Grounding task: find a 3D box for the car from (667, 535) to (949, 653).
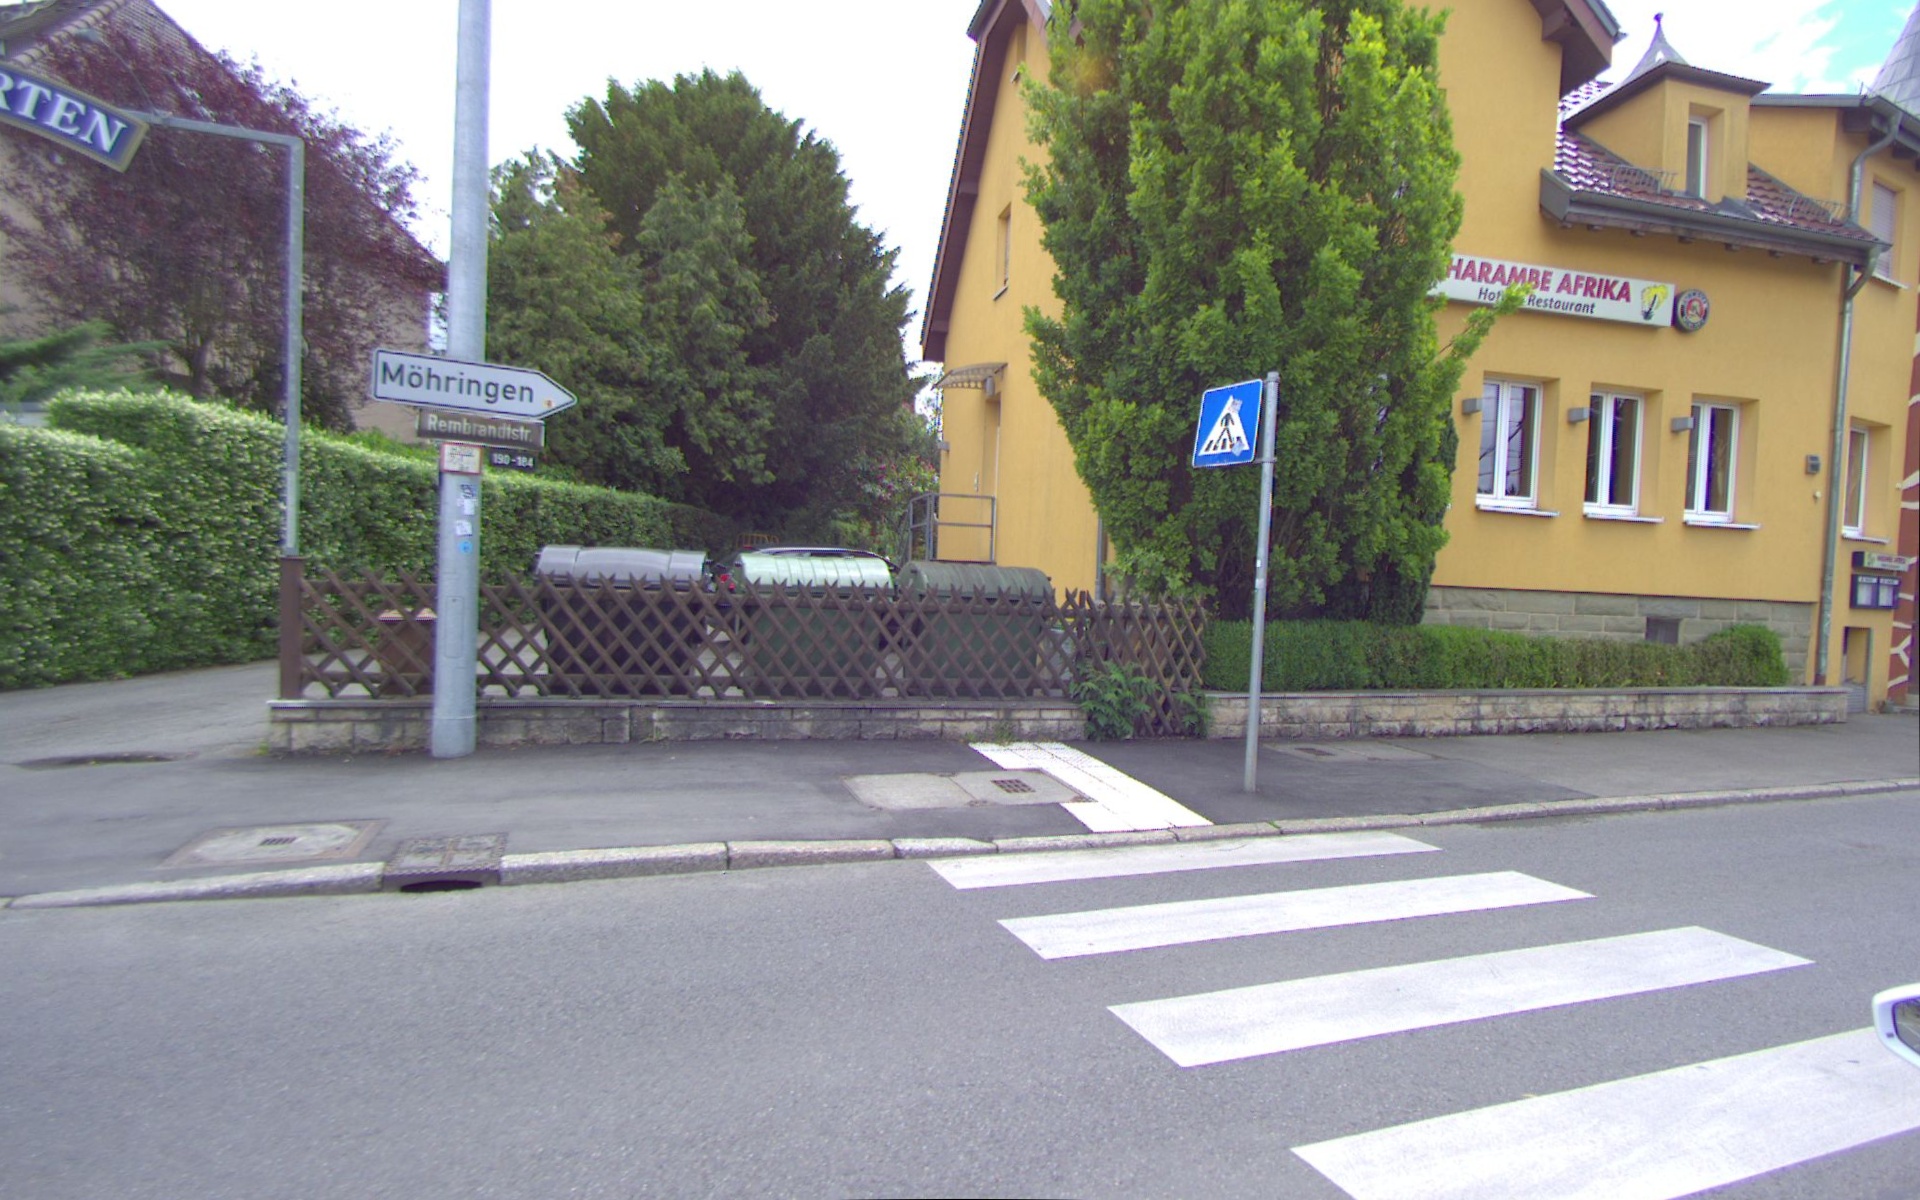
[{"bbox_3d":[-2.169,-0.101,14.175,3.625,1.447,1.718,1,5,-22],"label":"car"}]
